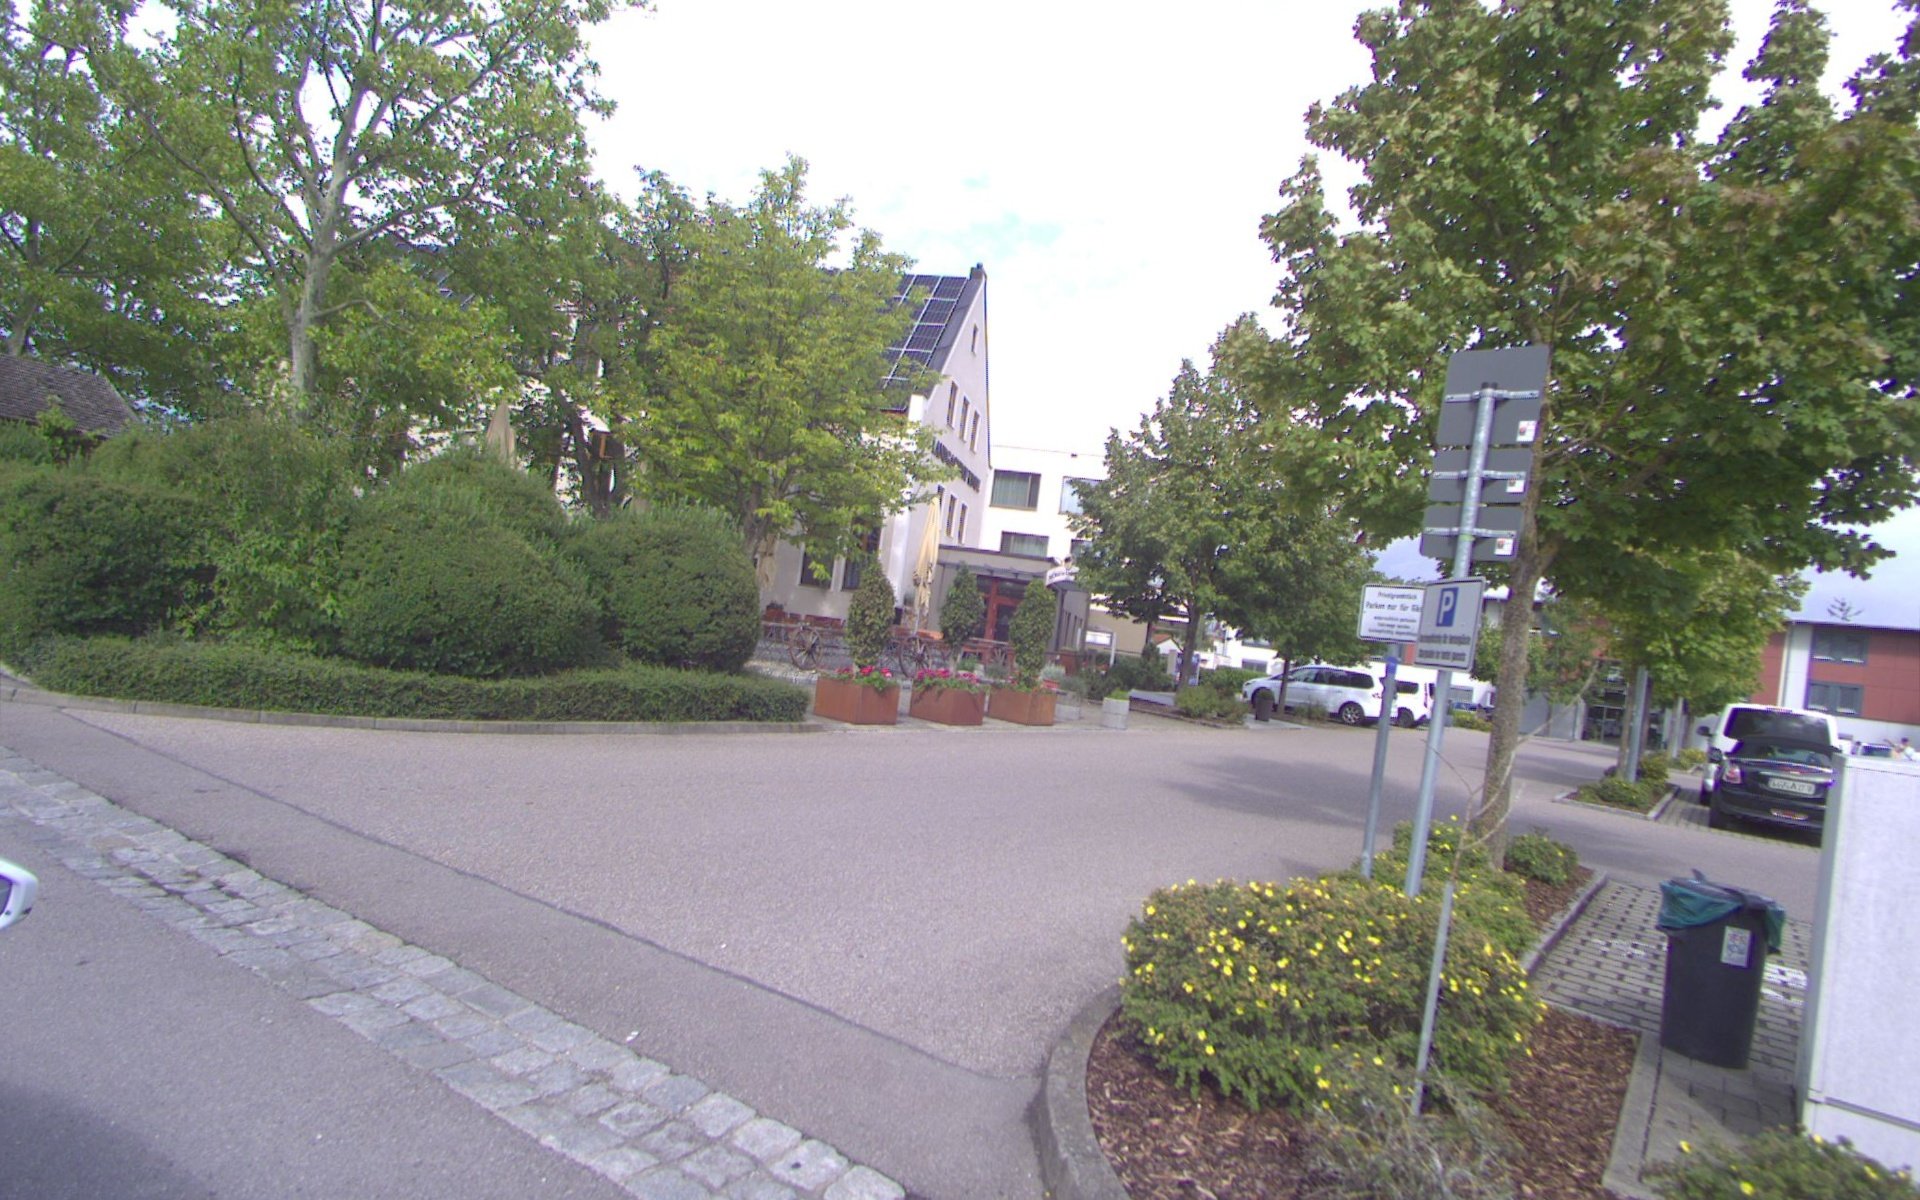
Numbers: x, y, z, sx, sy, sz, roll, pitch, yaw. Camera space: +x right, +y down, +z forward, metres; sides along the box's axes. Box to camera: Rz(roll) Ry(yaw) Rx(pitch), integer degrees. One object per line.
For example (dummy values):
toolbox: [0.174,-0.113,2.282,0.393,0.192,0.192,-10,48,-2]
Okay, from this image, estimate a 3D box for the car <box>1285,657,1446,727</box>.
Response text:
car: [14.633,3.299,36.463,5.001,1.731,1.593,7,-2,37]

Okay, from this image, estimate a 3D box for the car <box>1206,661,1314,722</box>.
car: [13.071,3.979,43.880,3.934,2.037,1.998,7,-2,32]

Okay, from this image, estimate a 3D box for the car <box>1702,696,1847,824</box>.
car: [15.096,2.932,18.817,1.741,1.843,4.354,7,-2,37]

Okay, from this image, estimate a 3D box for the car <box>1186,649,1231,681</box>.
car: [18.200,4.776,73.602,1.689,1.850,3.601,7,-2,38]

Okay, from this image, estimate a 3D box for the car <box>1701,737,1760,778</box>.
car: [34.034,6.928,44.535,1.648,1.445,3.993,7,-2,34]

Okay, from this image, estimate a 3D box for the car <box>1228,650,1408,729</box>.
car: [11.380,2.819,32.171,5.001,1.731,1.745,7,-2,37]

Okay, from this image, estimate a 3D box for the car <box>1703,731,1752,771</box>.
car: [41.301,8.113,54.180,1.648,1.802,3.993,7,-2,34]

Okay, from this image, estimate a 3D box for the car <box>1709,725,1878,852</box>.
car: [12.035,2.662,14.699,1.605,1.366,3.363,7,-2,37]

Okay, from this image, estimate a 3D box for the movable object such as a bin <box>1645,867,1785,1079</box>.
movable object such as a bin: [3.045,1.480,4.058,0.363,0.692,0.287,7,-1,42]

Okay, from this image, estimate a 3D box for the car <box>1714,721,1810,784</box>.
car: [24.431,4.618,30.759,1.794,1.517,3.839,7,-2,34]

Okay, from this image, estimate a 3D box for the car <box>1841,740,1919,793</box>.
car: [37.985,6.808,41.545,1.739,1.740,3.993,7,-2,34]
